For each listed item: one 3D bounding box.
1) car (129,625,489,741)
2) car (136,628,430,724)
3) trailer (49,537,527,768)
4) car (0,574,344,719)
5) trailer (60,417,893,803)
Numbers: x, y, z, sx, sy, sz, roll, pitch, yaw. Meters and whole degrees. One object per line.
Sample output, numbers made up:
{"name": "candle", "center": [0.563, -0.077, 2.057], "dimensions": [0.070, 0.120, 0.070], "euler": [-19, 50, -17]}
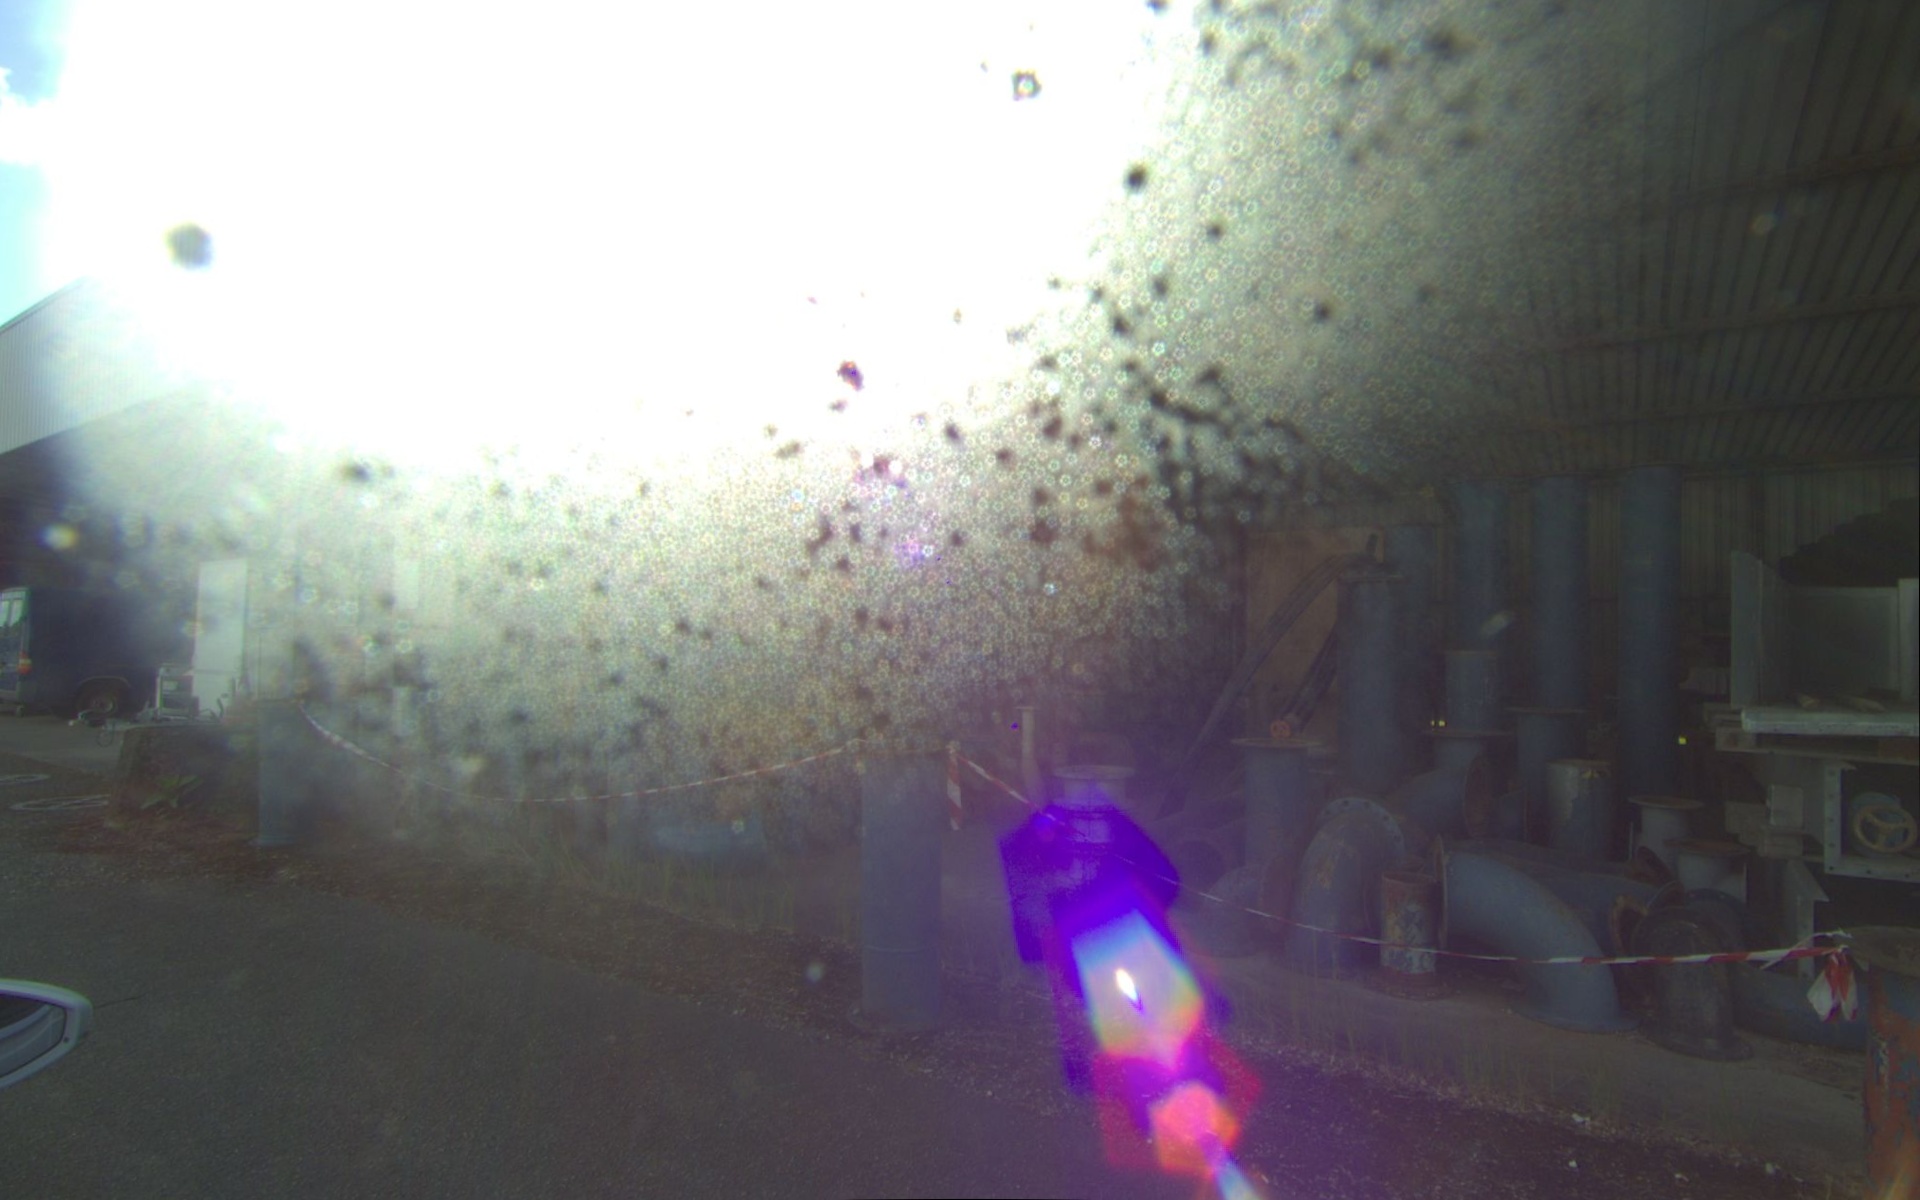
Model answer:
{"name": "car", "center": [-9.823, 1.202, 15.492], "dimensions": [1.751, 1.514, 4.324], "euler": [-1, -3, 31]}
{"name": "car", "center": [-11.921, 1.296, 17.911], "dimensions": [1.761, 1.491, 3.985], "euler": [-1, -3, 29]}
{"name": "trailer", "center": [-8.375, 0.665, 12.962], "dimensions": [1.804, 2.421, 4.796], "euler": [-1, -3, 38]}
{"name": "car", "center": [-14.771, 0.895, 18.905], "dimensions": [1.973, 2.354, 4.969], "euler": [-1, -3, 34]}
{"name": "trailer", "center": [-5.058, 0.313, 13.429], "dimensions": [2.814, 3.256, 10.018], "euler": [-1, -3, 34]}
